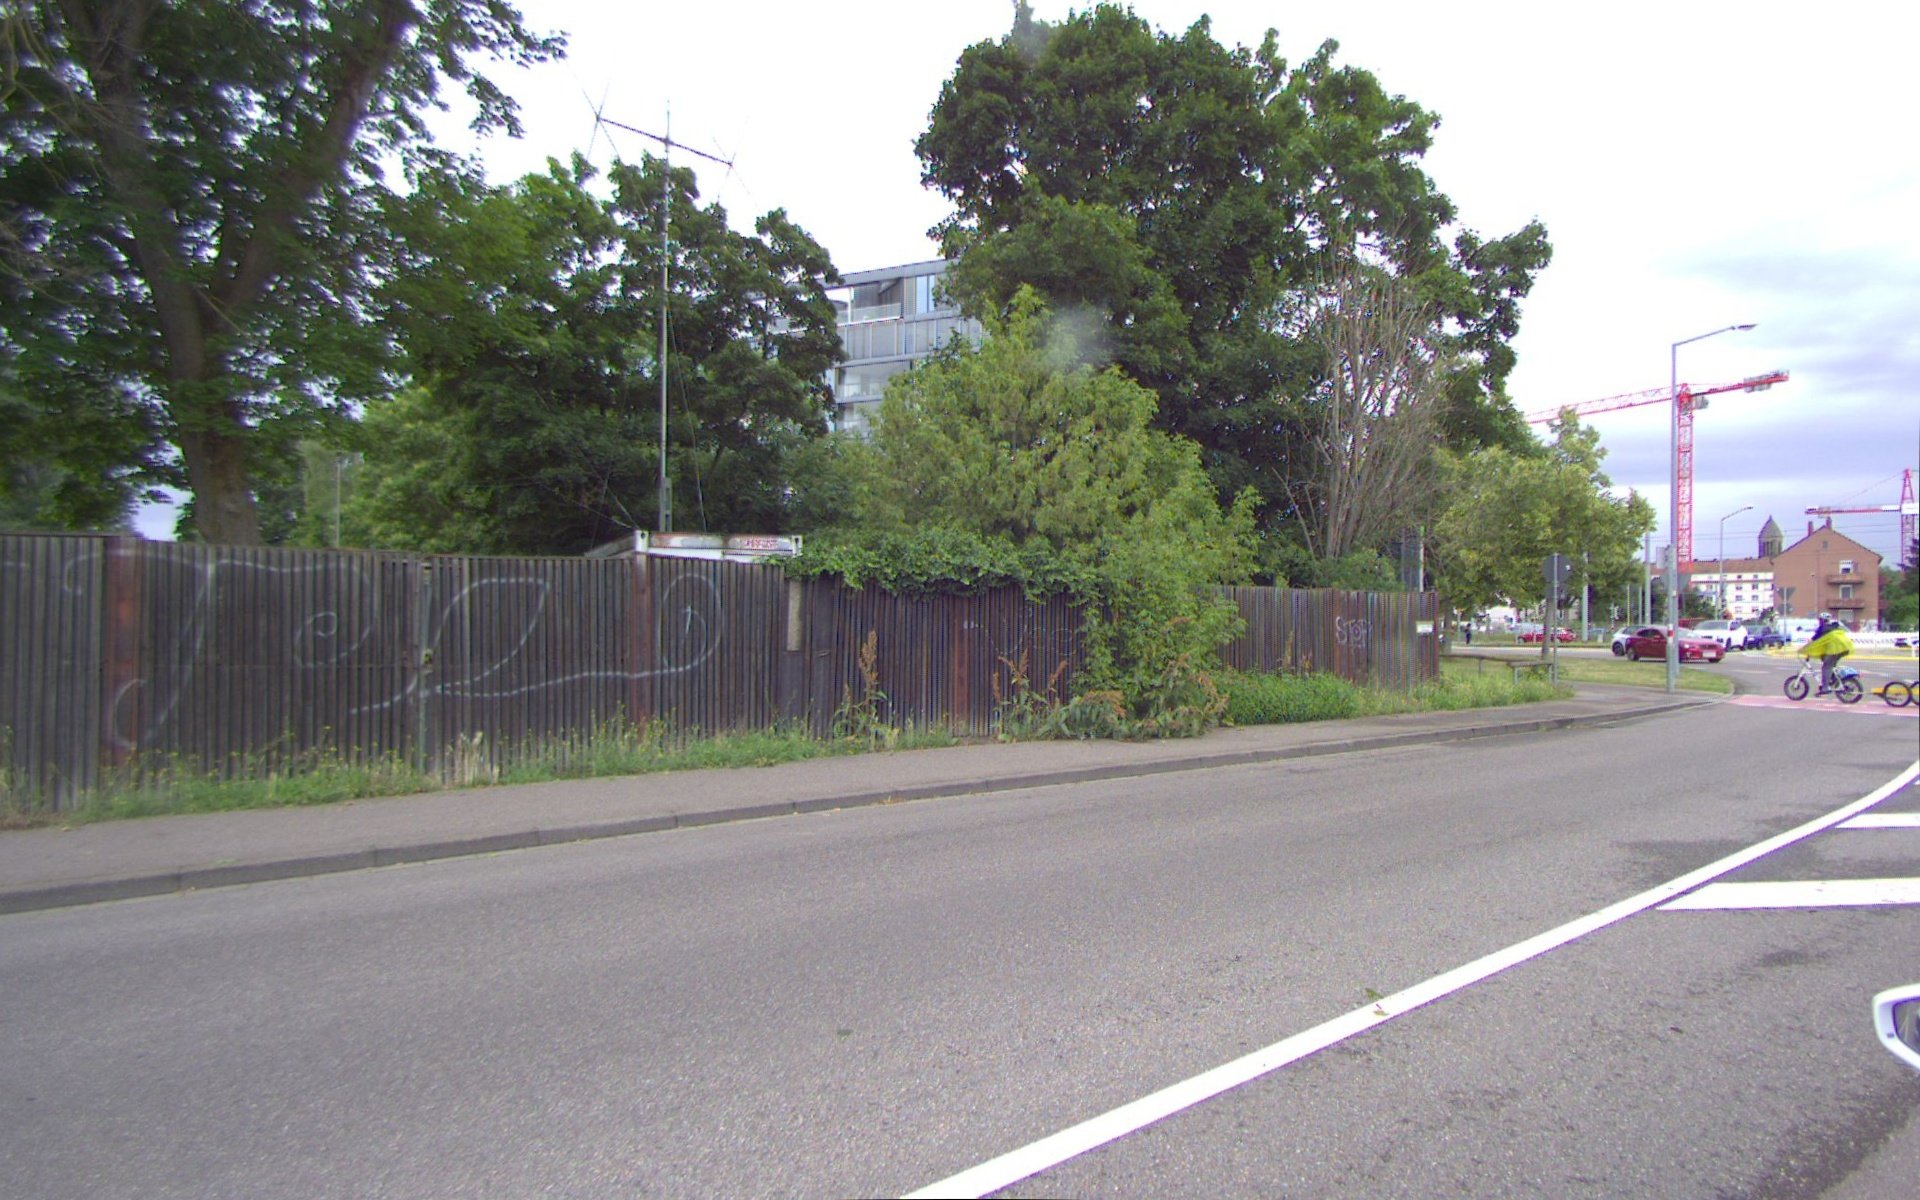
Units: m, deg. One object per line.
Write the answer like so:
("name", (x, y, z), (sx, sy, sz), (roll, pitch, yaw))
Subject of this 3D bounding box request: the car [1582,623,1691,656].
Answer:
("car", (32.649, 1.884, 48.617), (1.970, 1.528, 3.981), (1, -1, -21))

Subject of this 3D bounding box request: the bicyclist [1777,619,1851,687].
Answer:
("bicyclist", (18.211, 1.108, 21.440), (0.604, 1.420, 1.062), (0, -1, -13))

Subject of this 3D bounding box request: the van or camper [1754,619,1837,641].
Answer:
("van or camper", (82.411, 2.929, 99.215), (1.969, 2.040, 6.171), (1, -1, -19))

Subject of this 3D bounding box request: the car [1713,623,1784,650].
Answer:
("car", (45.751, 2.071, 58.286), (3.953, 1.509, 1.922), (1, -1, -30))

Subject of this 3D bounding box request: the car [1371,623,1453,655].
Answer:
("car", (28.286, 2.391, 63.060), (2.064, 1.925, 4.833), (0, -1, -16))

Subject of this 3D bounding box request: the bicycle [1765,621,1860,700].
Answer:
("bicycle", (18.212, 1.258, 21.501), (0.595, 1.633, 1.478), (0, -1, -13))

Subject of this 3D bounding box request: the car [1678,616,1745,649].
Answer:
("car", (40.607, 1.744, 54.244), (4.152, 1.706, 1.916), (1, -1, -38))

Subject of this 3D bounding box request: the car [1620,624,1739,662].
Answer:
("car", (29.907, 1.753, 41.937), (1.960, 1.483, 4.359), (0, -1, 2))

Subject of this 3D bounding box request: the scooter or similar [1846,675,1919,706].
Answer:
("scooter or similar", (18.778, 1.794, 19.911), (0.912, 0.511, 1.602), (1, -1, -27))

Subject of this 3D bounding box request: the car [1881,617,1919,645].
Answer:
("car", (59.032, 1.876, 60.761), (4.580, 1.656, 2.001), (0, -1, 9))
